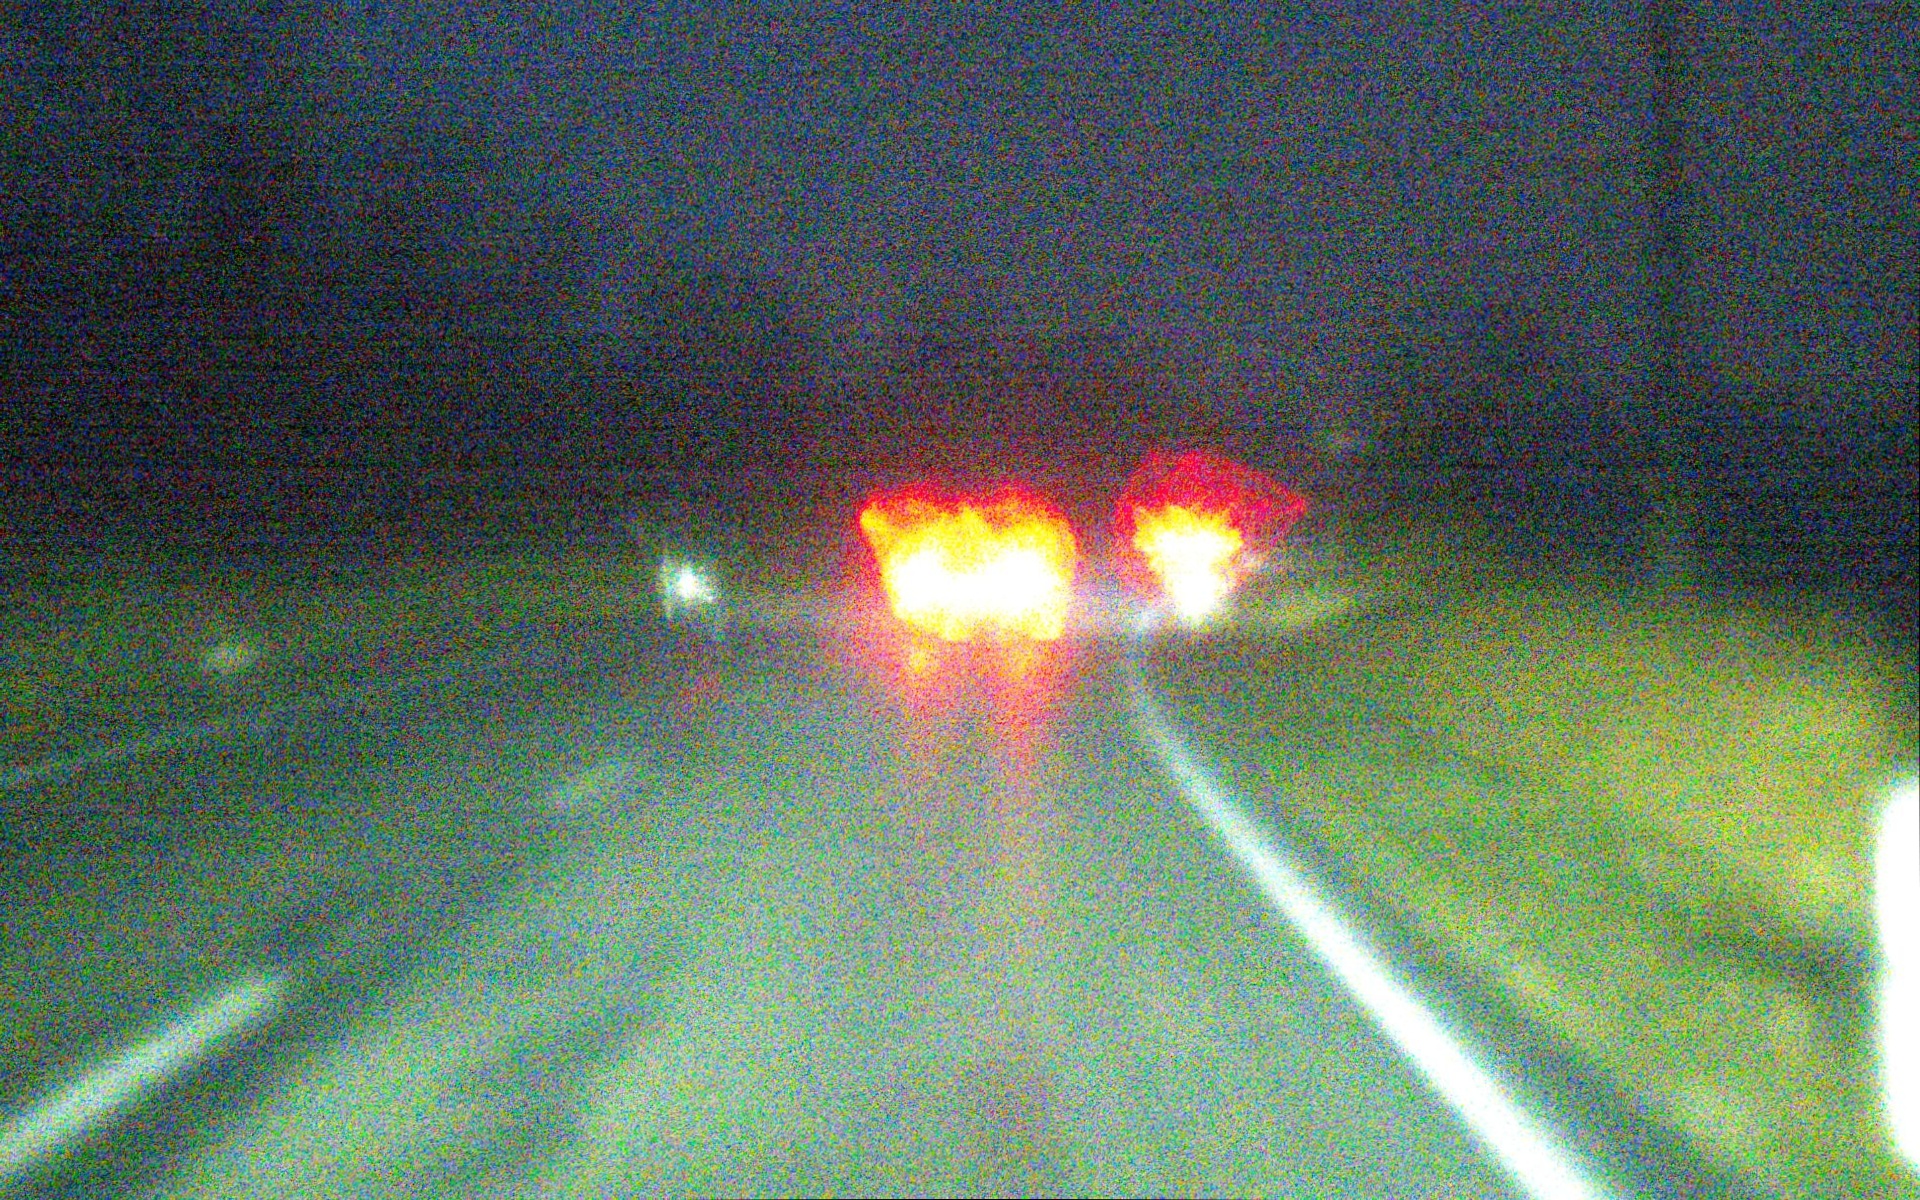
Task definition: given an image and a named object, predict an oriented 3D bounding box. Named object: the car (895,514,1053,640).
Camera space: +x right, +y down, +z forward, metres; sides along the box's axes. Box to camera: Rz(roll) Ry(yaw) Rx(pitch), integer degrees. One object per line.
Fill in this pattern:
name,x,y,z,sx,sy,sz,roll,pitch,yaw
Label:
car,0.243,-0.360,49.266,1.843,1.734,3.999,0,1,7
